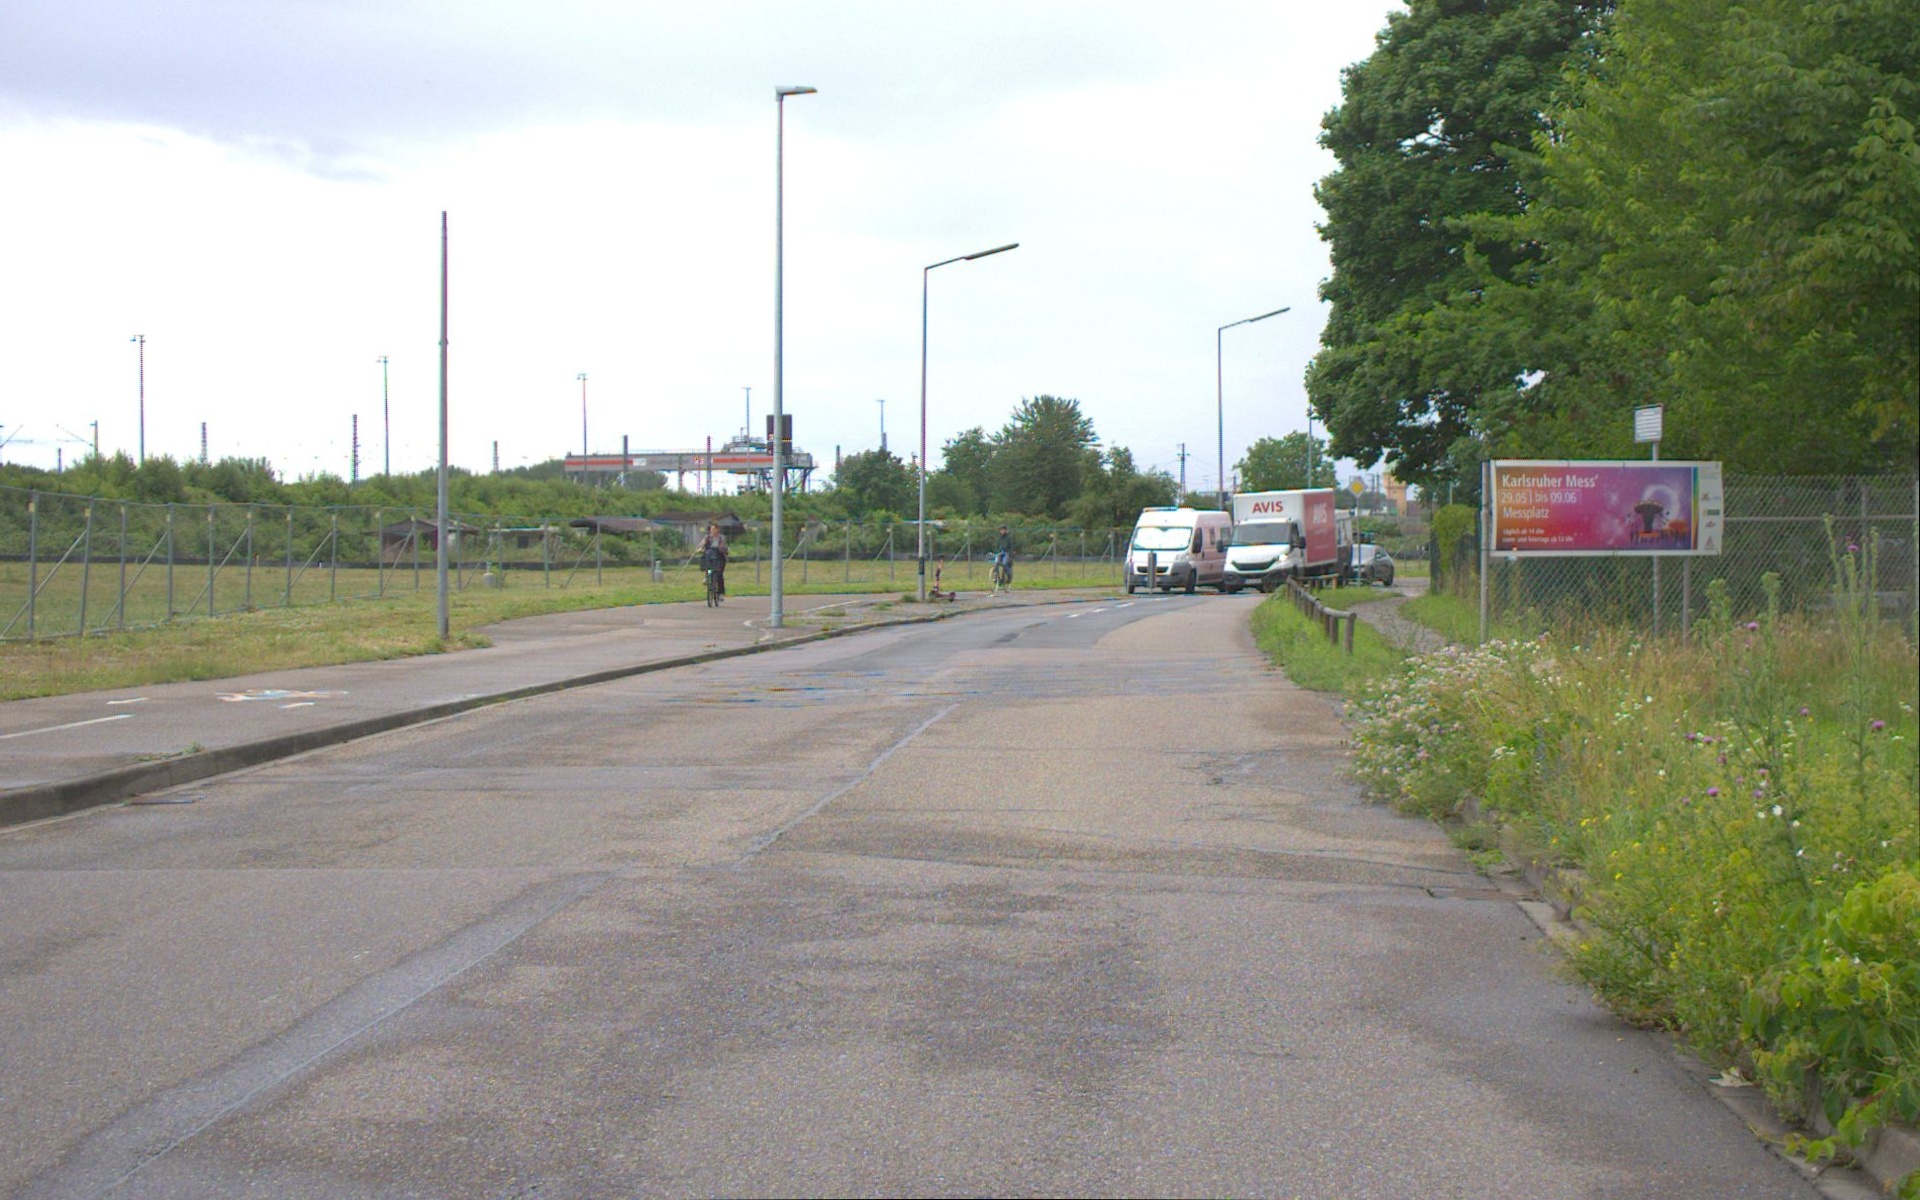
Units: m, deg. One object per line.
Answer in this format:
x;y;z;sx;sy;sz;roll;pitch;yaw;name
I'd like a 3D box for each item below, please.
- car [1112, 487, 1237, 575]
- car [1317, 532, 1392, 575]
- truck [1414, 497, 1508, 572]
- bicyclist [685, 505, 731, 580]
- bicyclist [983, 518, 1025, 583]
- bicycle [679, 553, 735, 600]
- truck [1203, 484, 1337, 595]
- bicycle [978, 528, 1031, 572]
6.470;-2.072;102.952;2.291;2.547;6.405;0;1;17;car
14.370;-1.709;125.127;1.781;1.499;3.996;0;1;21;car
21.112;-2.770;144.596;2.464;3.050;8.155;0;1;19;truck
-5.153;-1.179;70.281;0.782;1.521;1.094;0;2;4;bicyclist
1.235;-1.391;96.119;0.828;1.815;1.329;1;2;16;bicyclist
-5.164;-0.483;70.268;0.803;0.904;2.232;0;2;4;bicycle
9.221;-1.818;101.616;2.342;3.051;7.491;-2;1;17;truck
1.260;-1.402;96.230;0.819;1.200;2.555;1;2;16;bicycle
